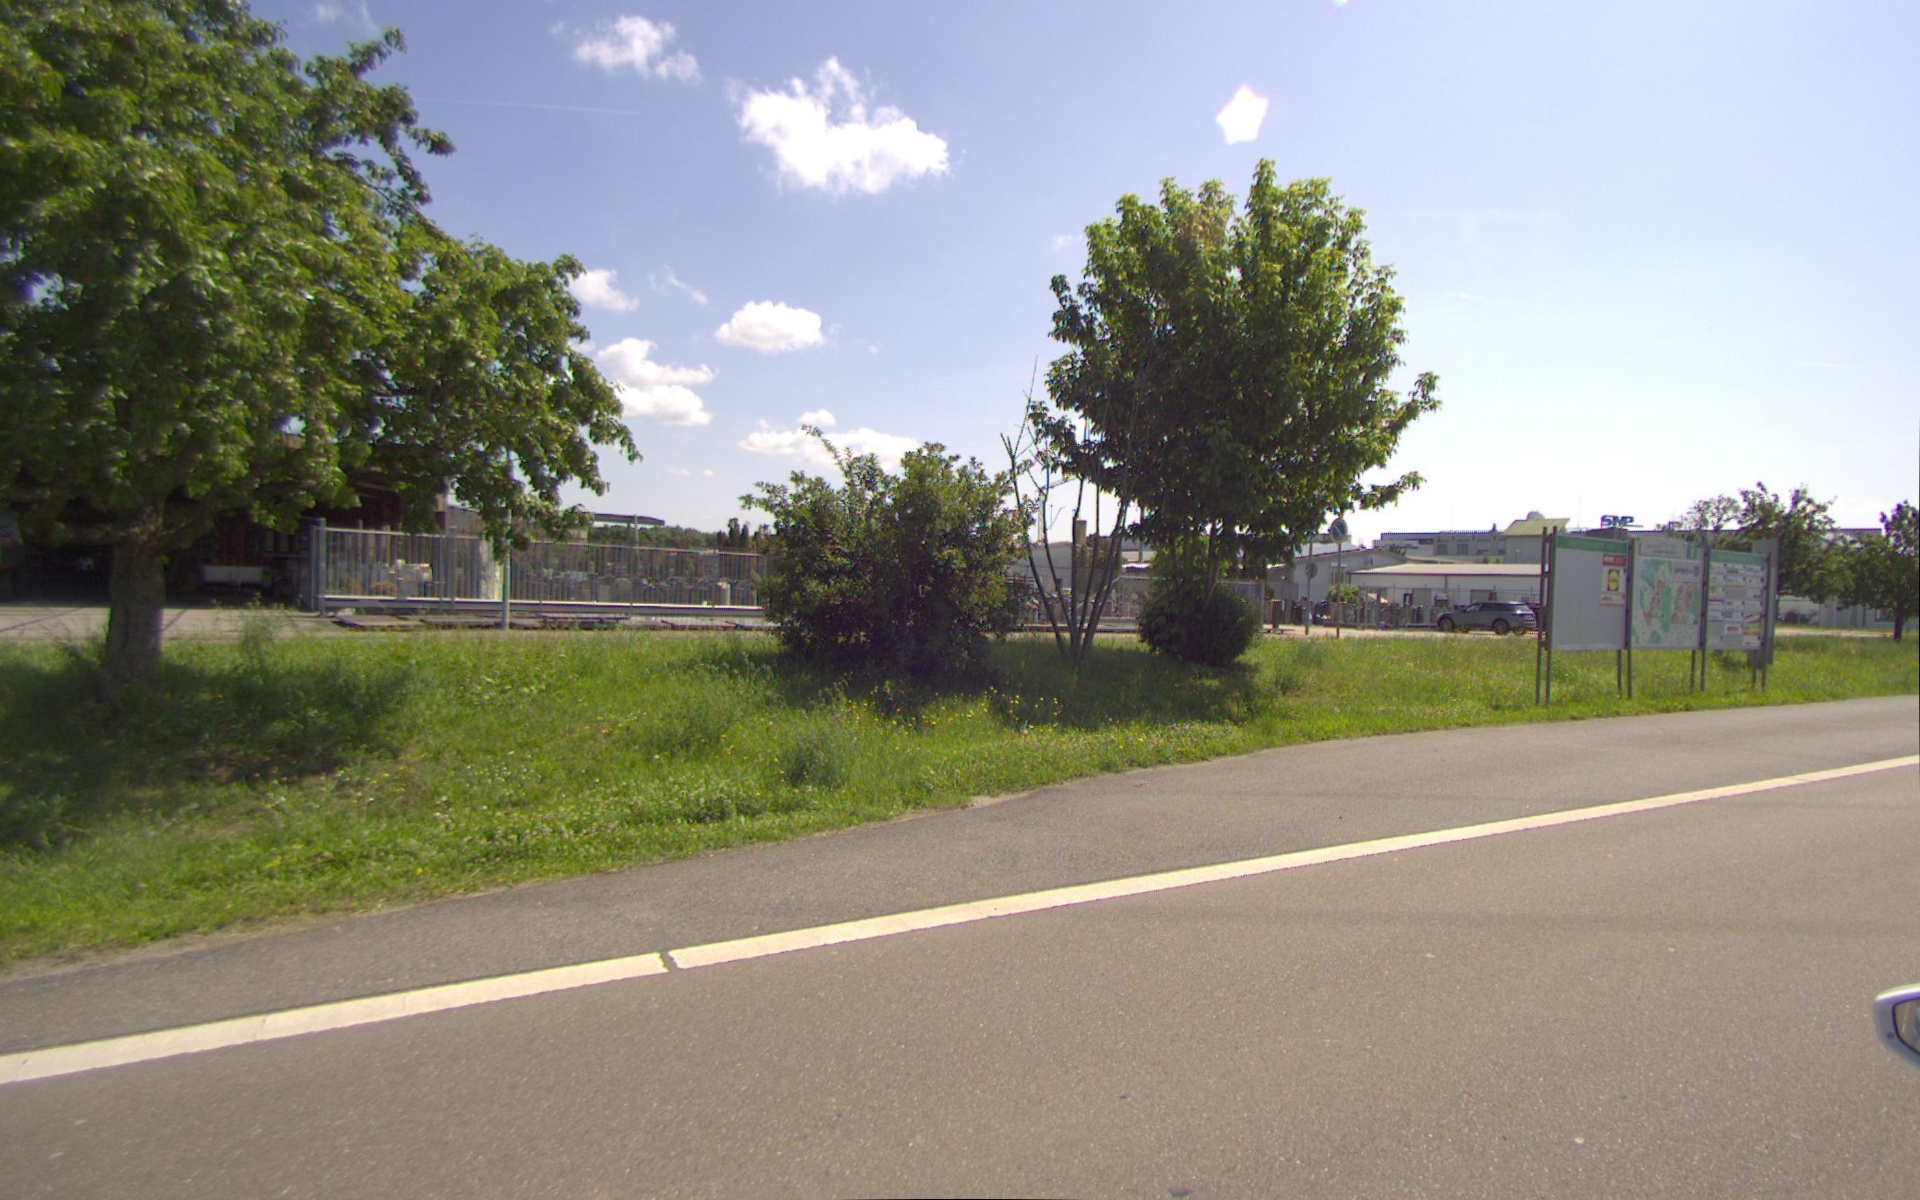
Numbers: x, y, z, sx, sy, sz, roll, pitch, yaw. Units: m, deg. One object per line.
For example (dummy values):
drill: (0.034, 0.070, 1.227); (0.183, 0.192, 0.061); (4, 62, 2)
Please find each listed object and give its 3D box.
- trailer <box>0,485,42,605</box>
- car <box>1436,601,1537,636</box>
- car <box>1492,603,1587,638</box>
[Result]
trailer: (-25.416, -1.438, 25.405); (2.716, 2.863, 5.519); (1, 2, -38)
car: (26.298, 0.910, 50.255); (1.981, 1.548, 3.958); (1, 2, -36)
car: (30.333, 1.048, 52.667); (1.650, 1.576, 3.958); (1, 2, -36)
